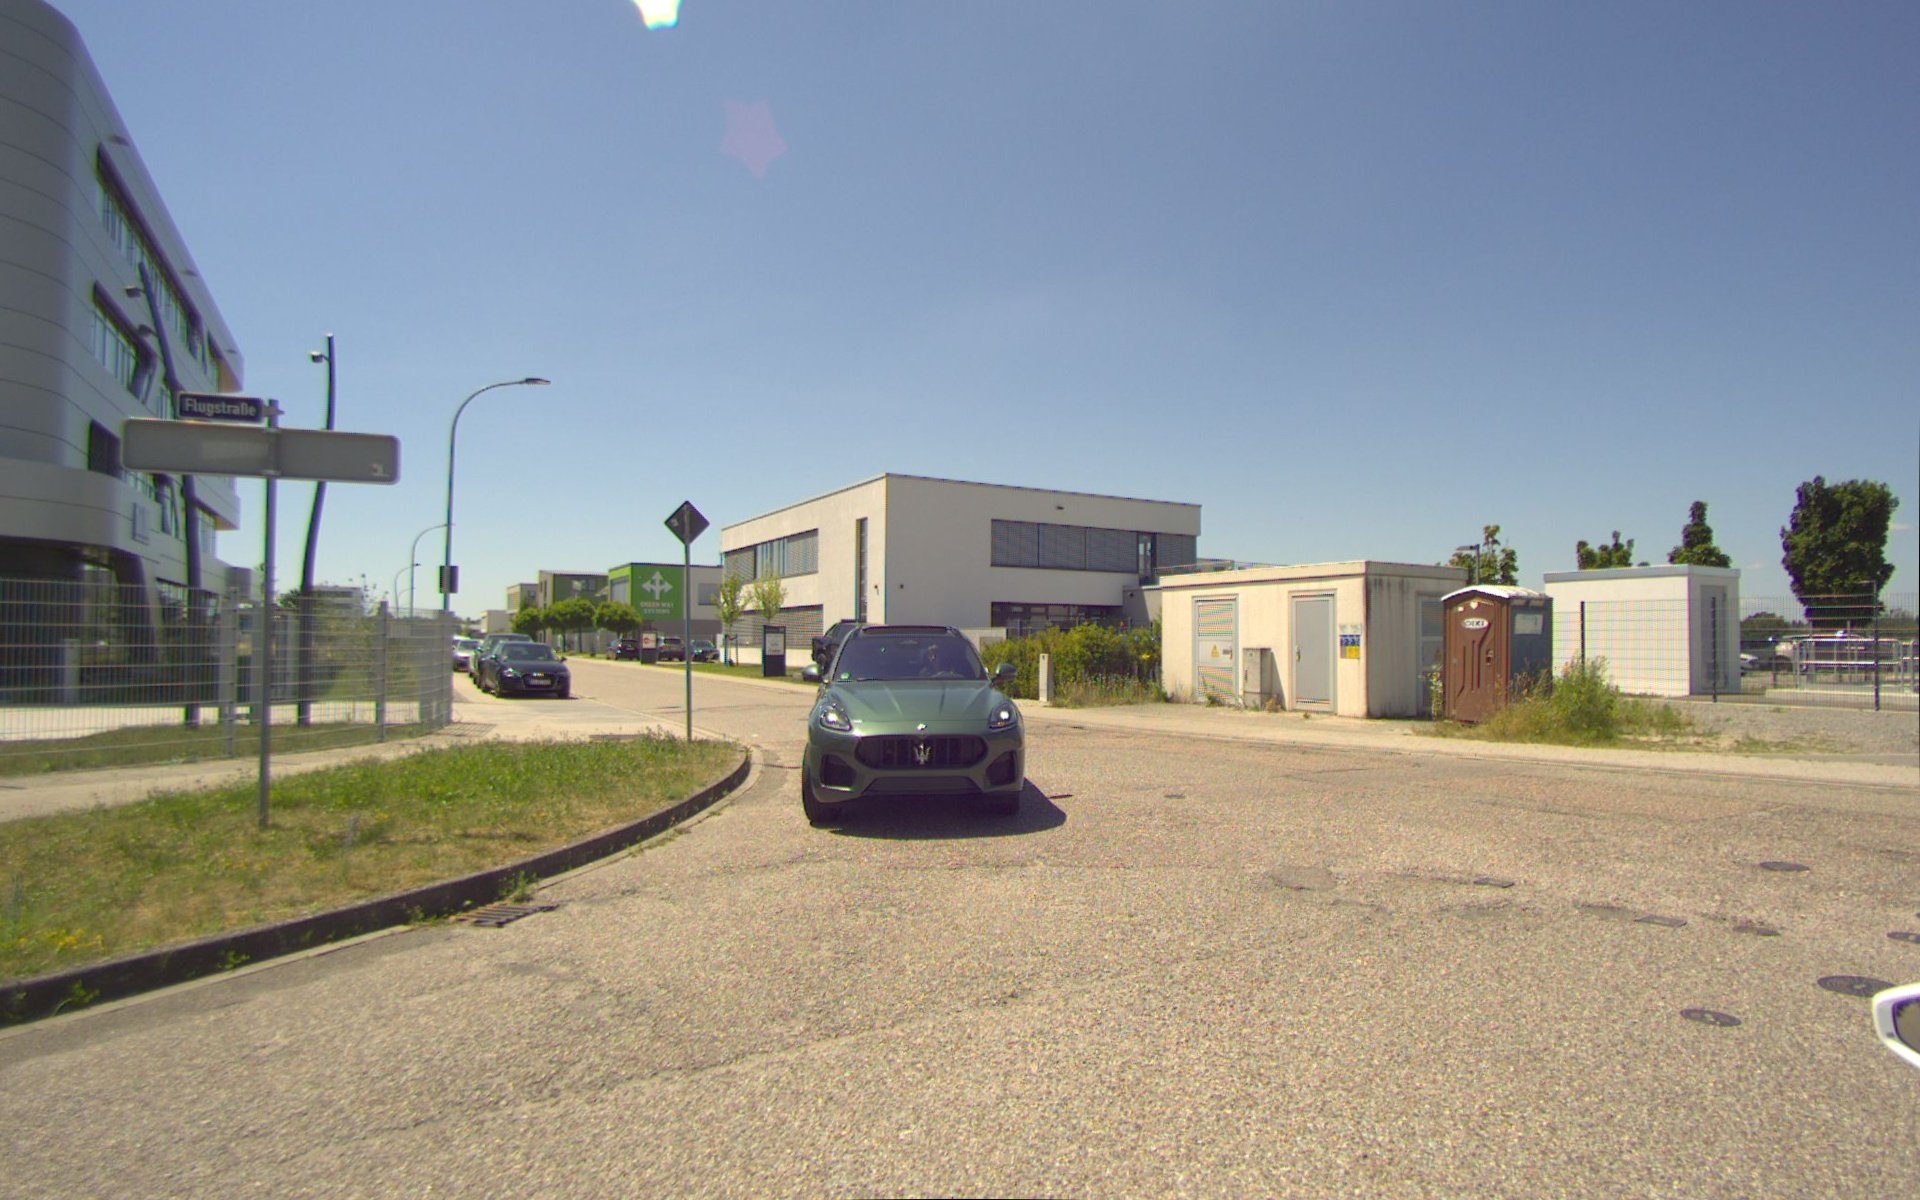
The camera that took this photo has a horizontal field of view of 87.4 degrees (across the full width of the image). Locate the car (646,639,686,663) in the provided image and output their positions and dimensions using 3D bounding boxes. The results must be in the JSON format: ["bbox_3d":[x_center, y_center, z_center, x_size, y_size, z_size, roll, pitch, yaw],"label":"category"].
[{"bbox_3d":[-19.703,3.382,67.195,1.553,1.572,3.965,1,-3,-32],"label":"car"}]

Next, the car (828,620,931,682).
[{"bbox_3d":[-2.846,1.758,34.914,1.978,2.040,3.965,1,-3,-32],"label":"car"}]

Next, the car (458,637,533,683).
[{"bbox_3d":[-17.383,2.238,37.476,1.979,1.560,3.965,4,-5,-32],"label":"car"}]

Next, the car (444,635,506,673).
[{"bbox_3d":[-21.575,2.410,44.628,1.979,1.560,3.965,4,-5,-32],"label":"car"}]

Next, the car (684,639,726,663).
[{"bbox_3d":[-17.239,3.439,67.831,1.553,1.572,3.965,1,-3,-32],"label":"car"}]

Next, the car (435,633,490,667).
[{"bbox_3d":[-24.895,2.525,50.233,1.979,1.560,3.965,4,-5,-32],"label":"car"}]

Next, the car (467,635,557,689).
[{"bbox_3d":[-14.268,1.955,31.873,1.979,1.560,3.965,4,-5,-32],"label":"car"}]

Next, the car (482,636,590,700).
[{"bbox_3d":[-11.458,1.815,26.997,1.979,1.560,3.965,4,-5,-32],"label":"car"}]

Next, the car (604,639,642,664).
[{"bbox_3d":[-22.122,3.354,65.870,1.620,1.617,3.970,1,-3,-29],"label":"car"}]

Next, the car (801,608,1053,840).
[{"bbox_3d":[-0.400,1.092,10.041,1.920,1.729,4.512,-1,-3,-4],"label":"car"}]

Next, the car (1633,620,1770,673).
[{"bbox_3d":[29.885,1.861,40.605,1.976,2.040,3.971,1,-3,-29],"label":"car"}]

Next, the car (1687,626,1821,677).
[{"bbox_3d":[33.349,2.134,42.318,1.976,2.040,3.971,1,-3,-29],"label":"car"}]
